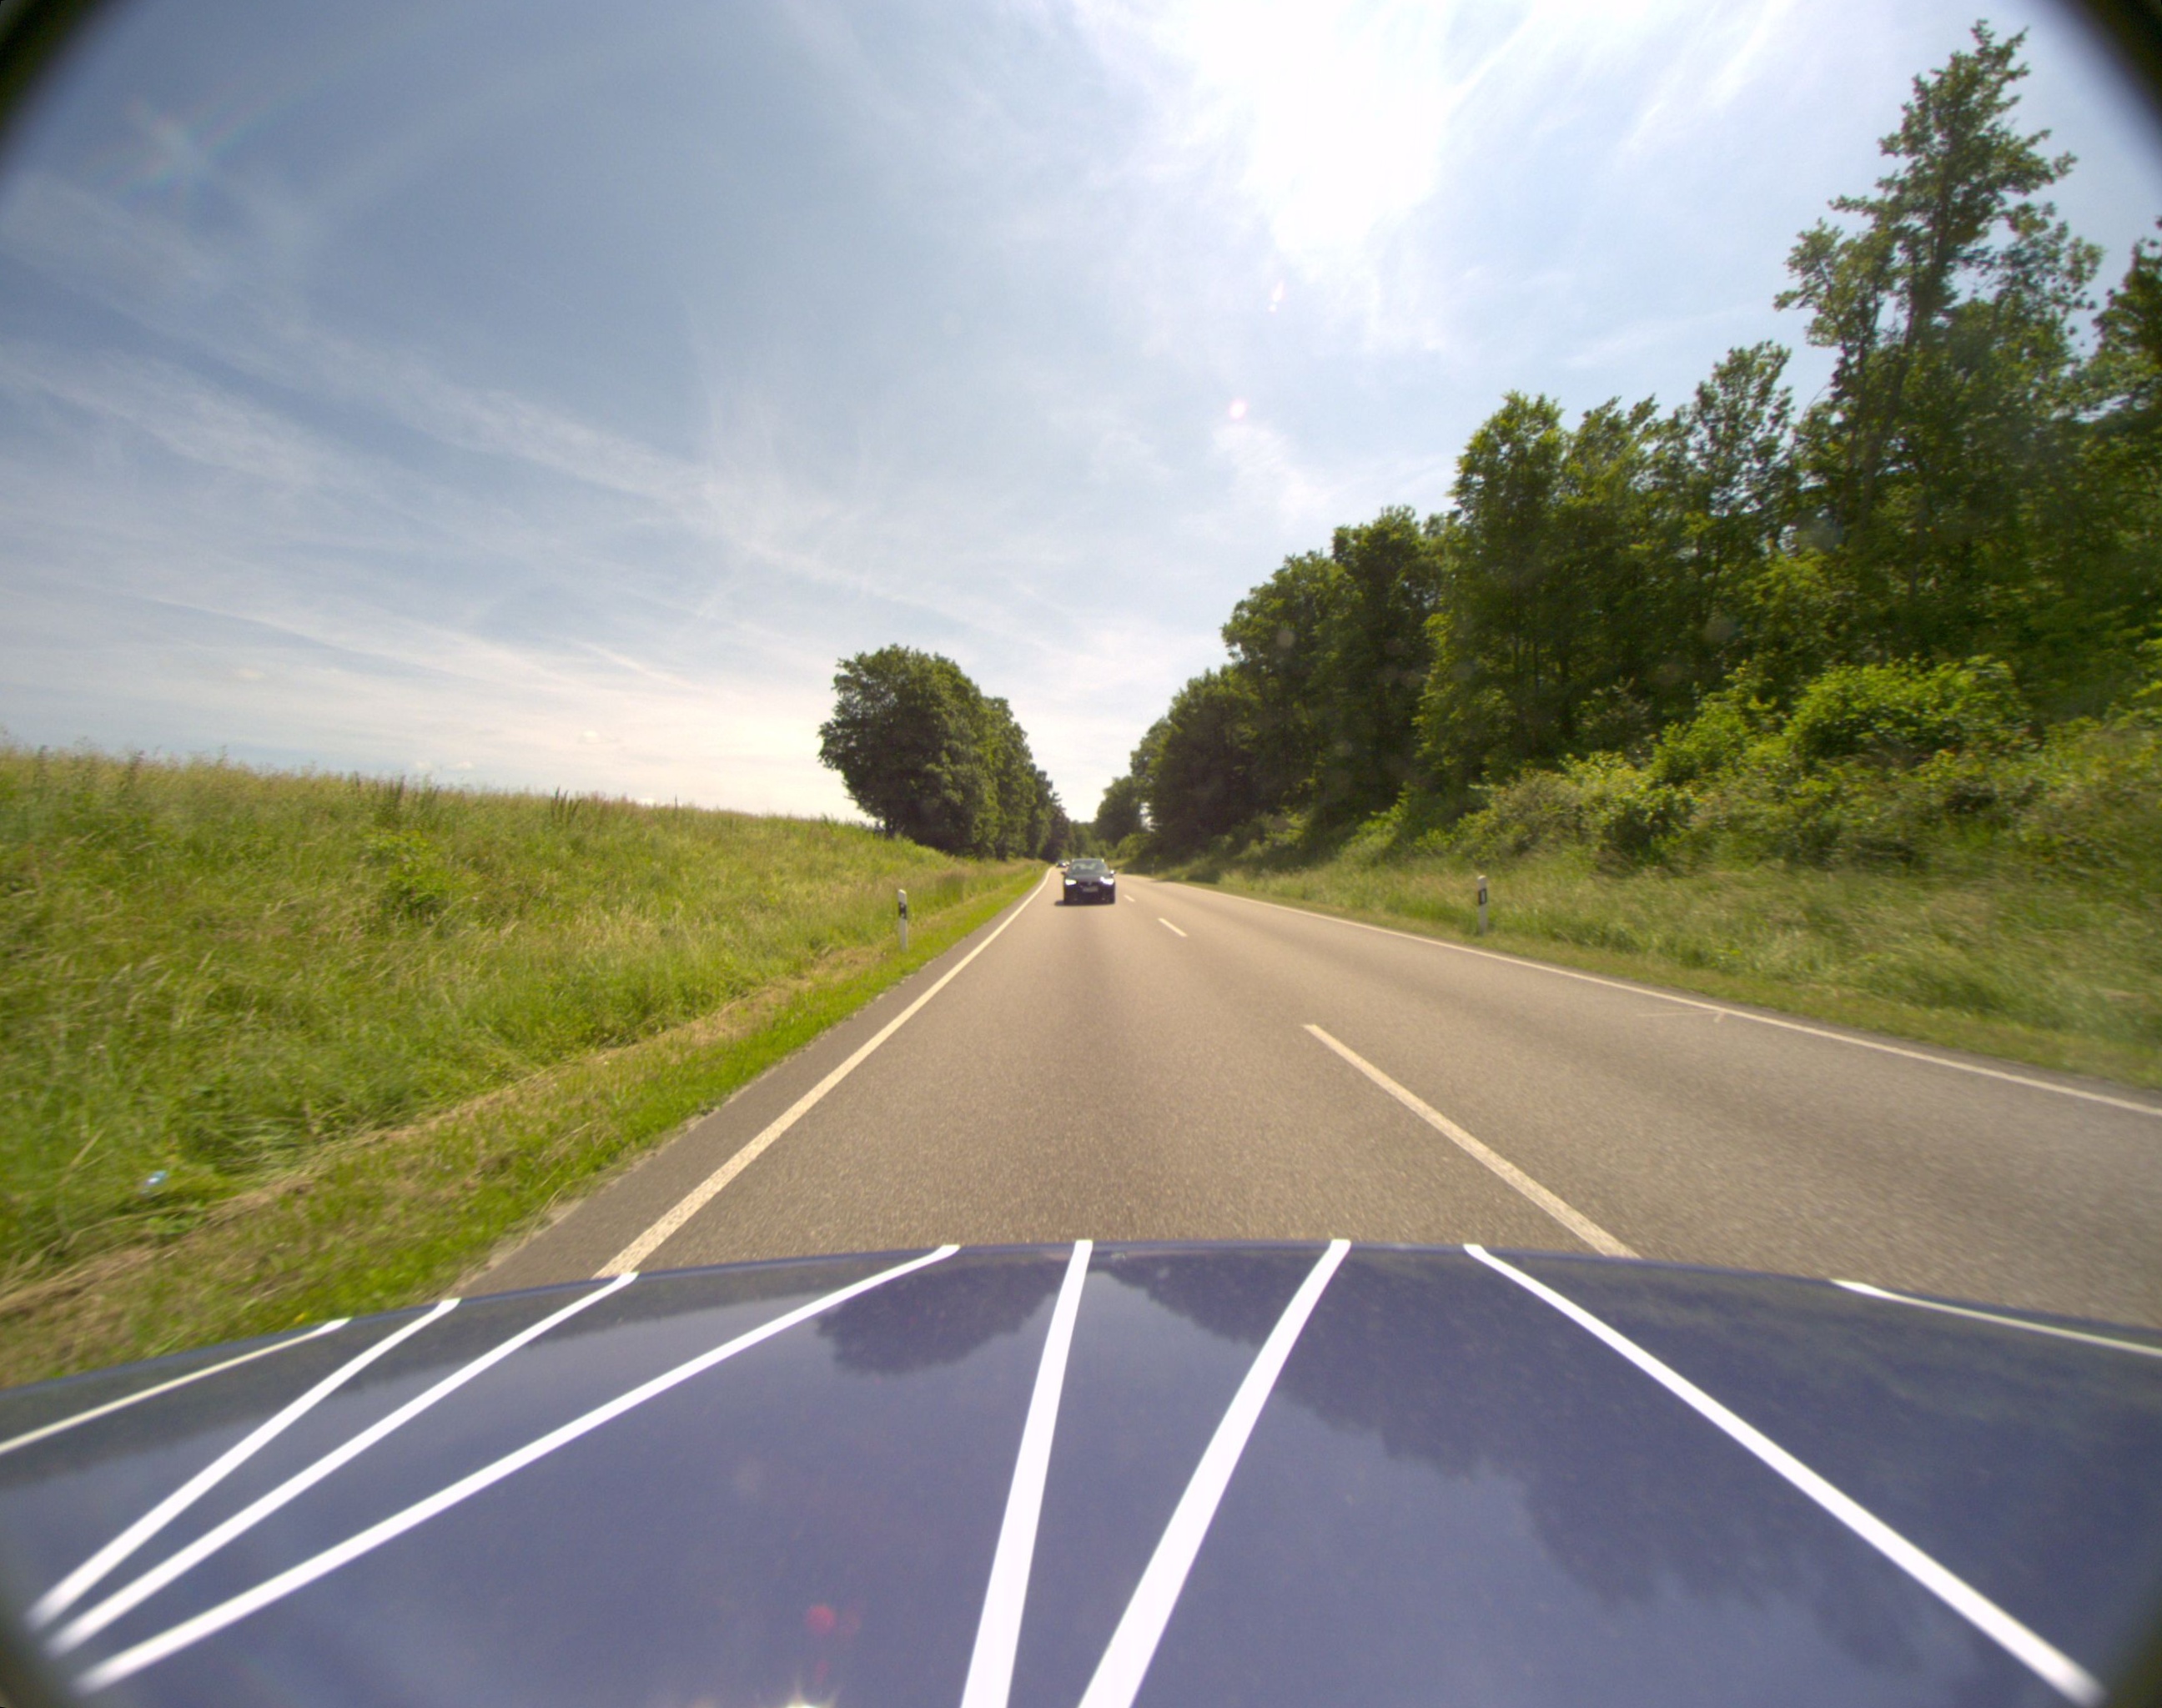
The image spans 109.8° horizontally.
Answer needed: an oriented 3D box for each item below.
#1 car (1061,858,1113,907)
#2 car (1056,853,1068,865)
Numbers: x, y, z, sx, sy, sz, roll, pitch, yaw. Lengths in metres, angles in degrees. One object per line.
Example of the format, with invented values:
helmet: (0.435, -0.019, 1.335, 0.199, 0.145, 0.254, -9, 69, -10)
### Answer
car: (0.274, 0.924, 26.397, 1.661, 1.531, 3.487, -1, 0, 3)
car: (-3.380, 0.930, 134.041, 1.999, 2.002, 3.999, -4, 0, -2)
